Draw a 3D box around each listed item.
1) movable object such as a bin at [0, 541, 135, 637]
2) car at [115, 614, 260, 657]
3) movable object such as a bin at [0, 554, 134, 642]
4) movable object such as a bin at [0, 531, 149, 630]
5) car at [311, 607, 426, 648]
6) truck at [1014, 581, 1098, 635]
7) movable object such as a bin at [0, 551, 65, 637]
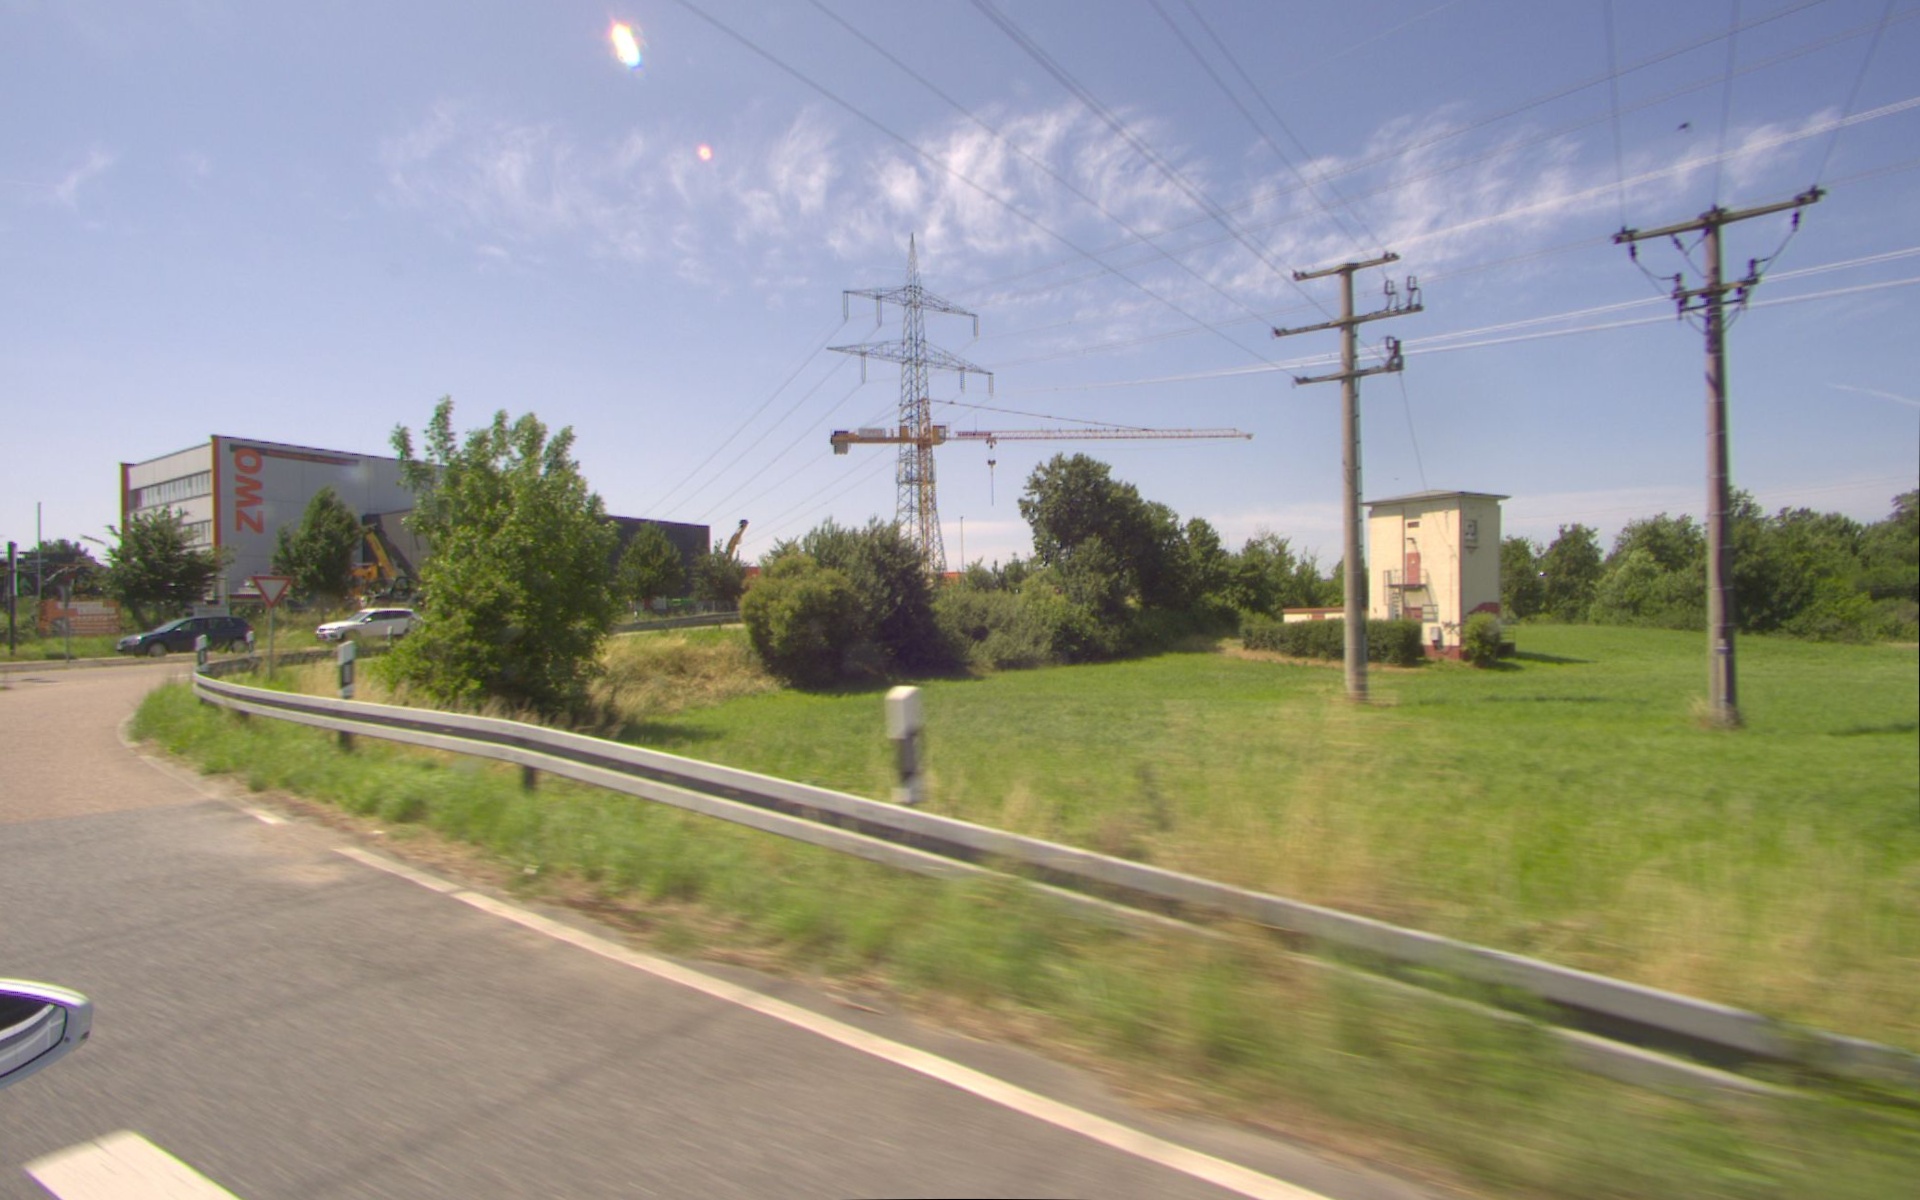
[{"bbox_3d":[-54.169,-0.495,59.920,3.755,5.210,6.579,-3,-4,33],"label":"movable object such as a bin"},{"bbox_3d":[-28.934,1.308,37.620,1.612,1.459,3.990,-1,0,33],"label":"car"},{"bbox_3d":[-47.970,0.018,53.710,2.796,4.327,5.076,-3,-4,33],"label":"movable object such as a bin"},{"bbox_3d":[-50.994,-0.948,57.757,3.067,5.167,5.908,-3,-4,33],"label":"movable object such as a bin"},{"bbox_3d":[-26.349,1.194,44.740,1.734,1.643,4.074,1,1,33],"label":"car"},{"bbox_3d":[8.484,0.809,87.392,3.270,4.233,9.656,-3,-4,32],"label":"truck"},{"bbox_3d":[-61.802,-0.343,64.358,3.178,5.333,5.706,-3,-4,33],"label":"movable object such as a bin"}]
